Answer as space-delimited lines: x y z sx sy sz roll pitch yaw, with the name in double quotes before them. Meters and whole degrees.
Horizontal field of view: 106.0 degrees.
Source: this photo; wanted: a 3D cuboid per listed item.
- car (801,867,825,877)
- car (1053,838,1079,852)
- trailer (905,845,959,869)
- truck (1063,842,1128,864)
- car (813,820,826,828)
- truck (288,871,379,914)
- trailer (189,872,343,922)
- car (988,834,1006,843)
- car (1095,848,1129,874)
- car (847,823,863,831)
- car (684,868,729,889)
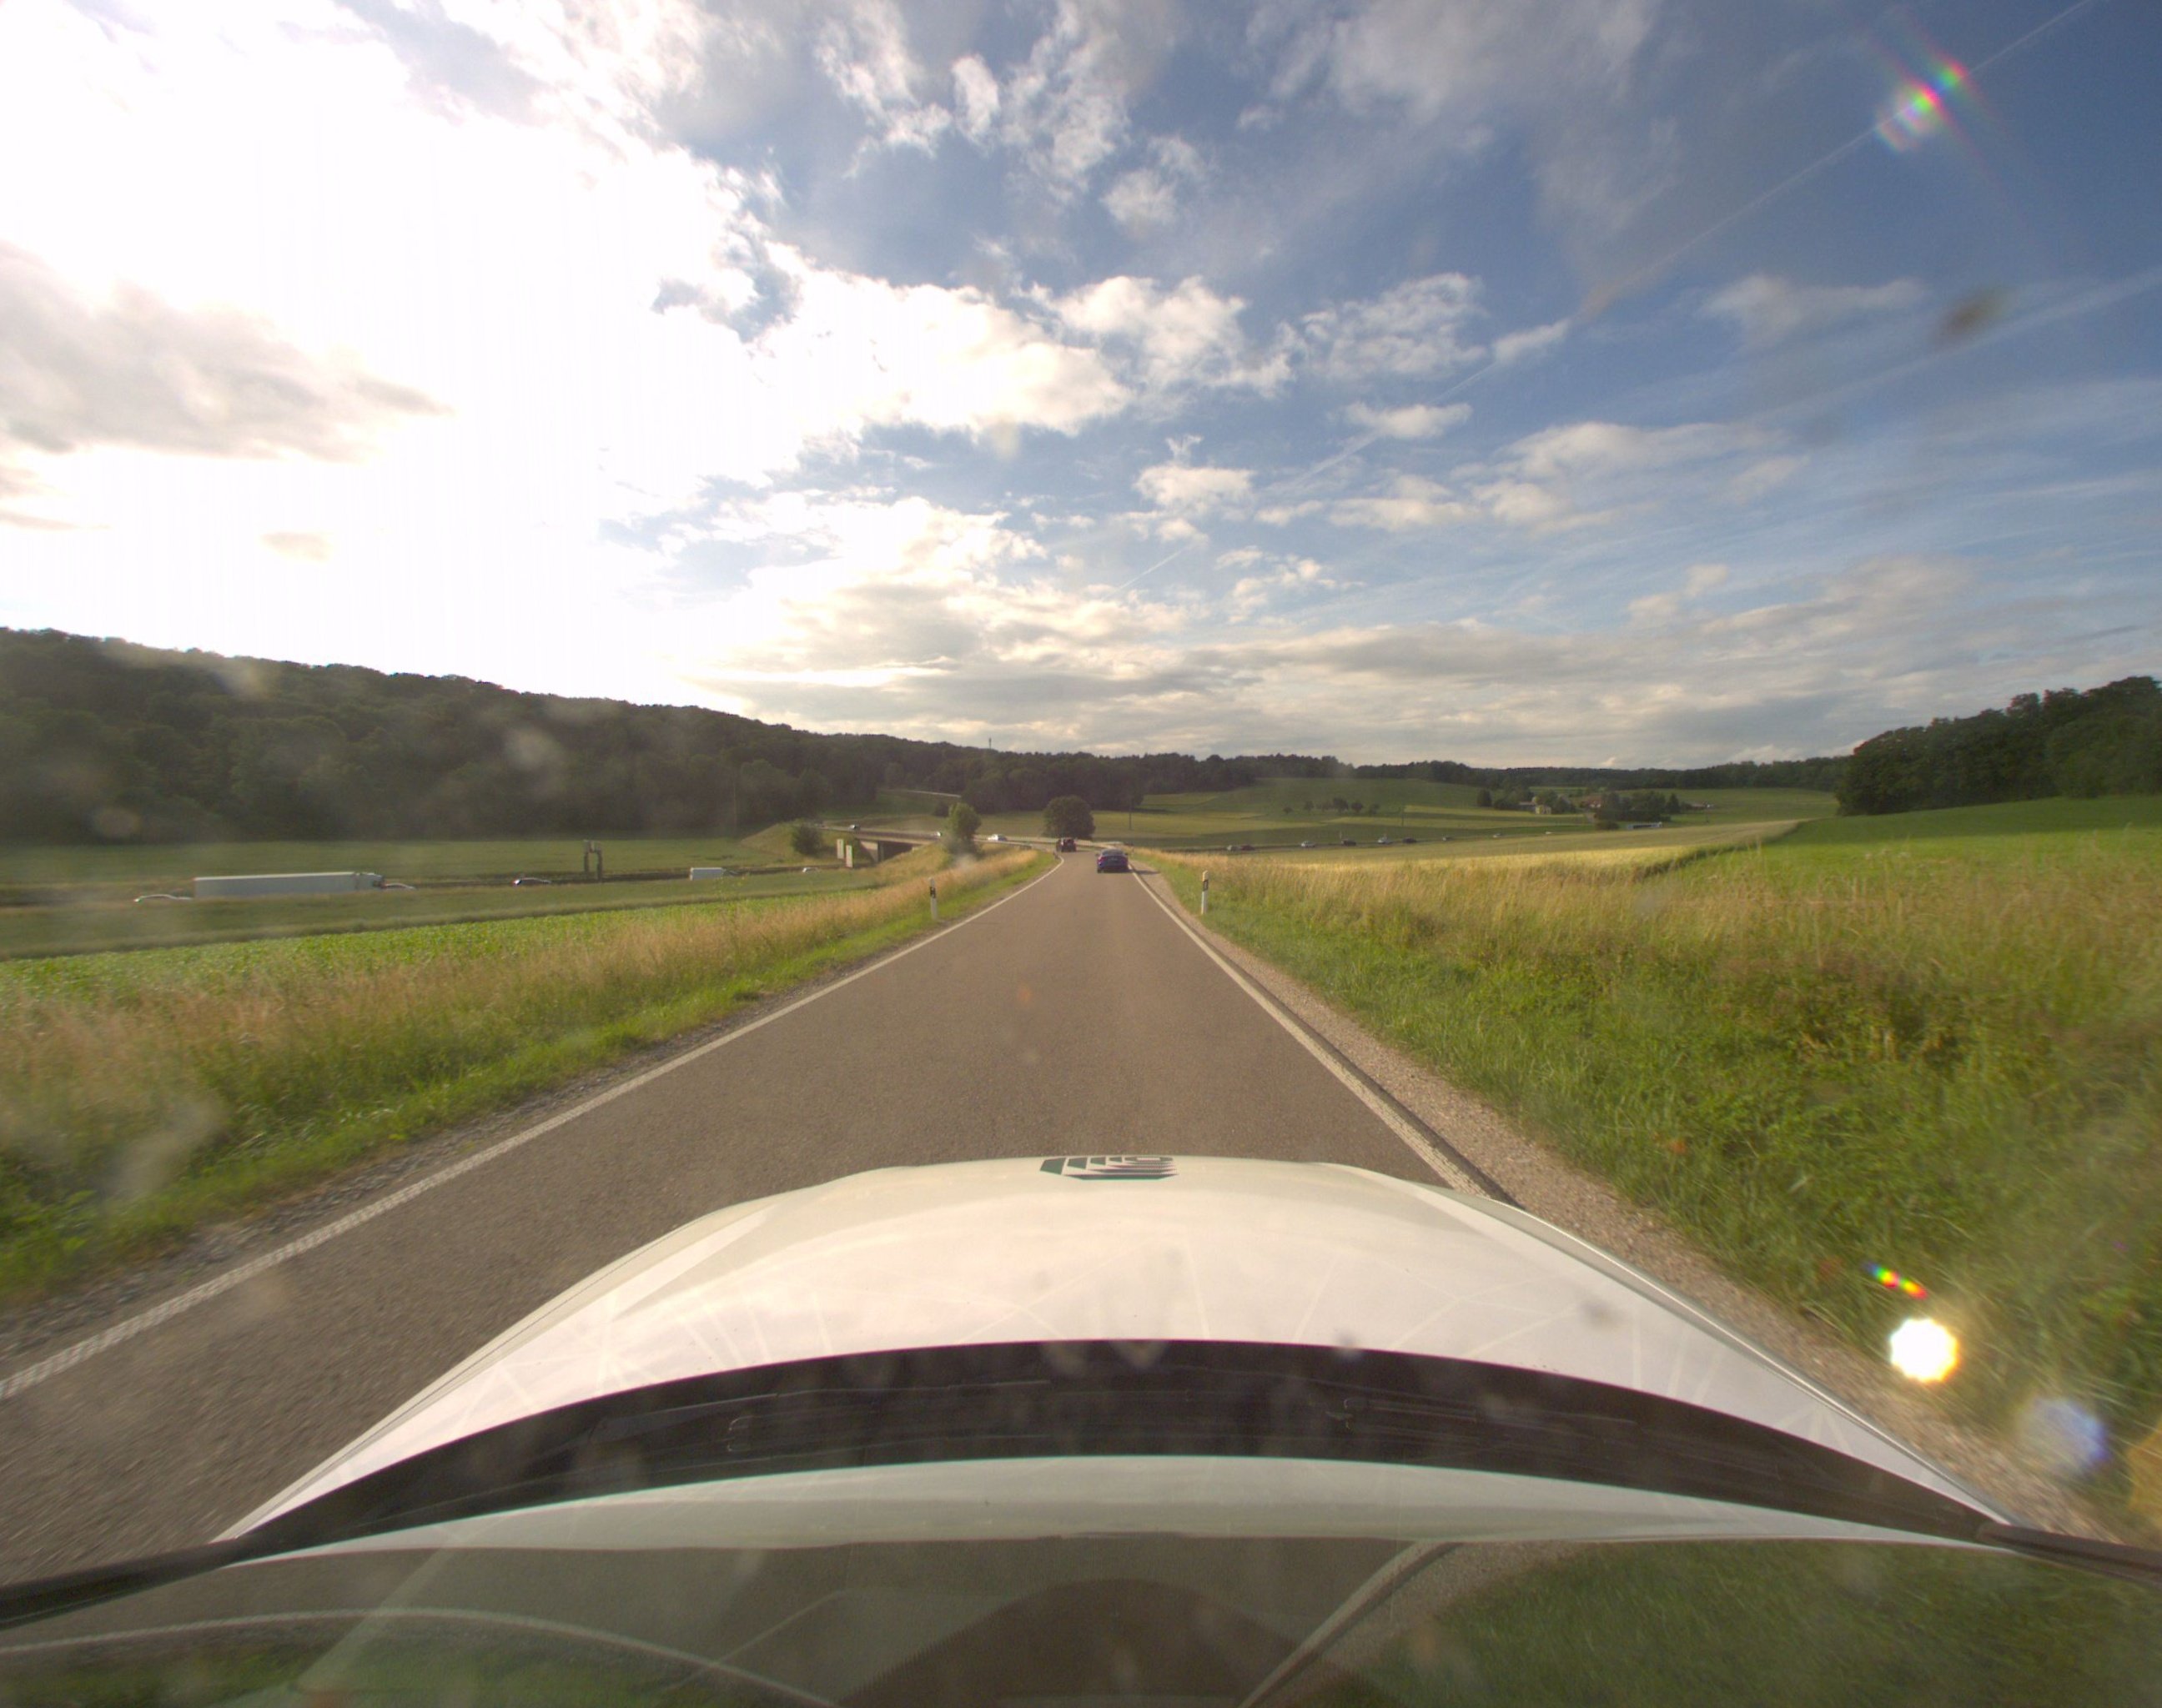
"car" -46.971 3.130 142.969 3.637 1.633 1.637 -3 0 -36
"car" -1.791 -1.067 94.988 1.867 1.568 3.976 -3 1 -17
"trailer" -28.248 0.522 154.596 9.175 4.059 3.794 -3 2 -39
"truck" 3.316 -0.288 176.005 14.490 3.996 4.034 -3 1 -36
"car" -65.185 -7.492 202.914 2.008 1.771 3.959 -6 6 -33
"truck" -93.966 4.748 102.537 8.102 4.465 2.994 -5 8 -43
"trailer" -98.205 5.063 98.657 12.800 4.465 2.997 -5 8 -43
"car" -13.205 -2.423 127.360 1.690 1.376 3.969 -2 1 -23
"car" 1.828 0.389 48.146 1.812 1.339 4.352 -4 0 2
"car" -50.205 -5.933 180.565 2.009 1.678 4.132 1 2 -37
"car" -60.315 3.889 131.081 6.154 2.582 2.348 -5 10 -38
